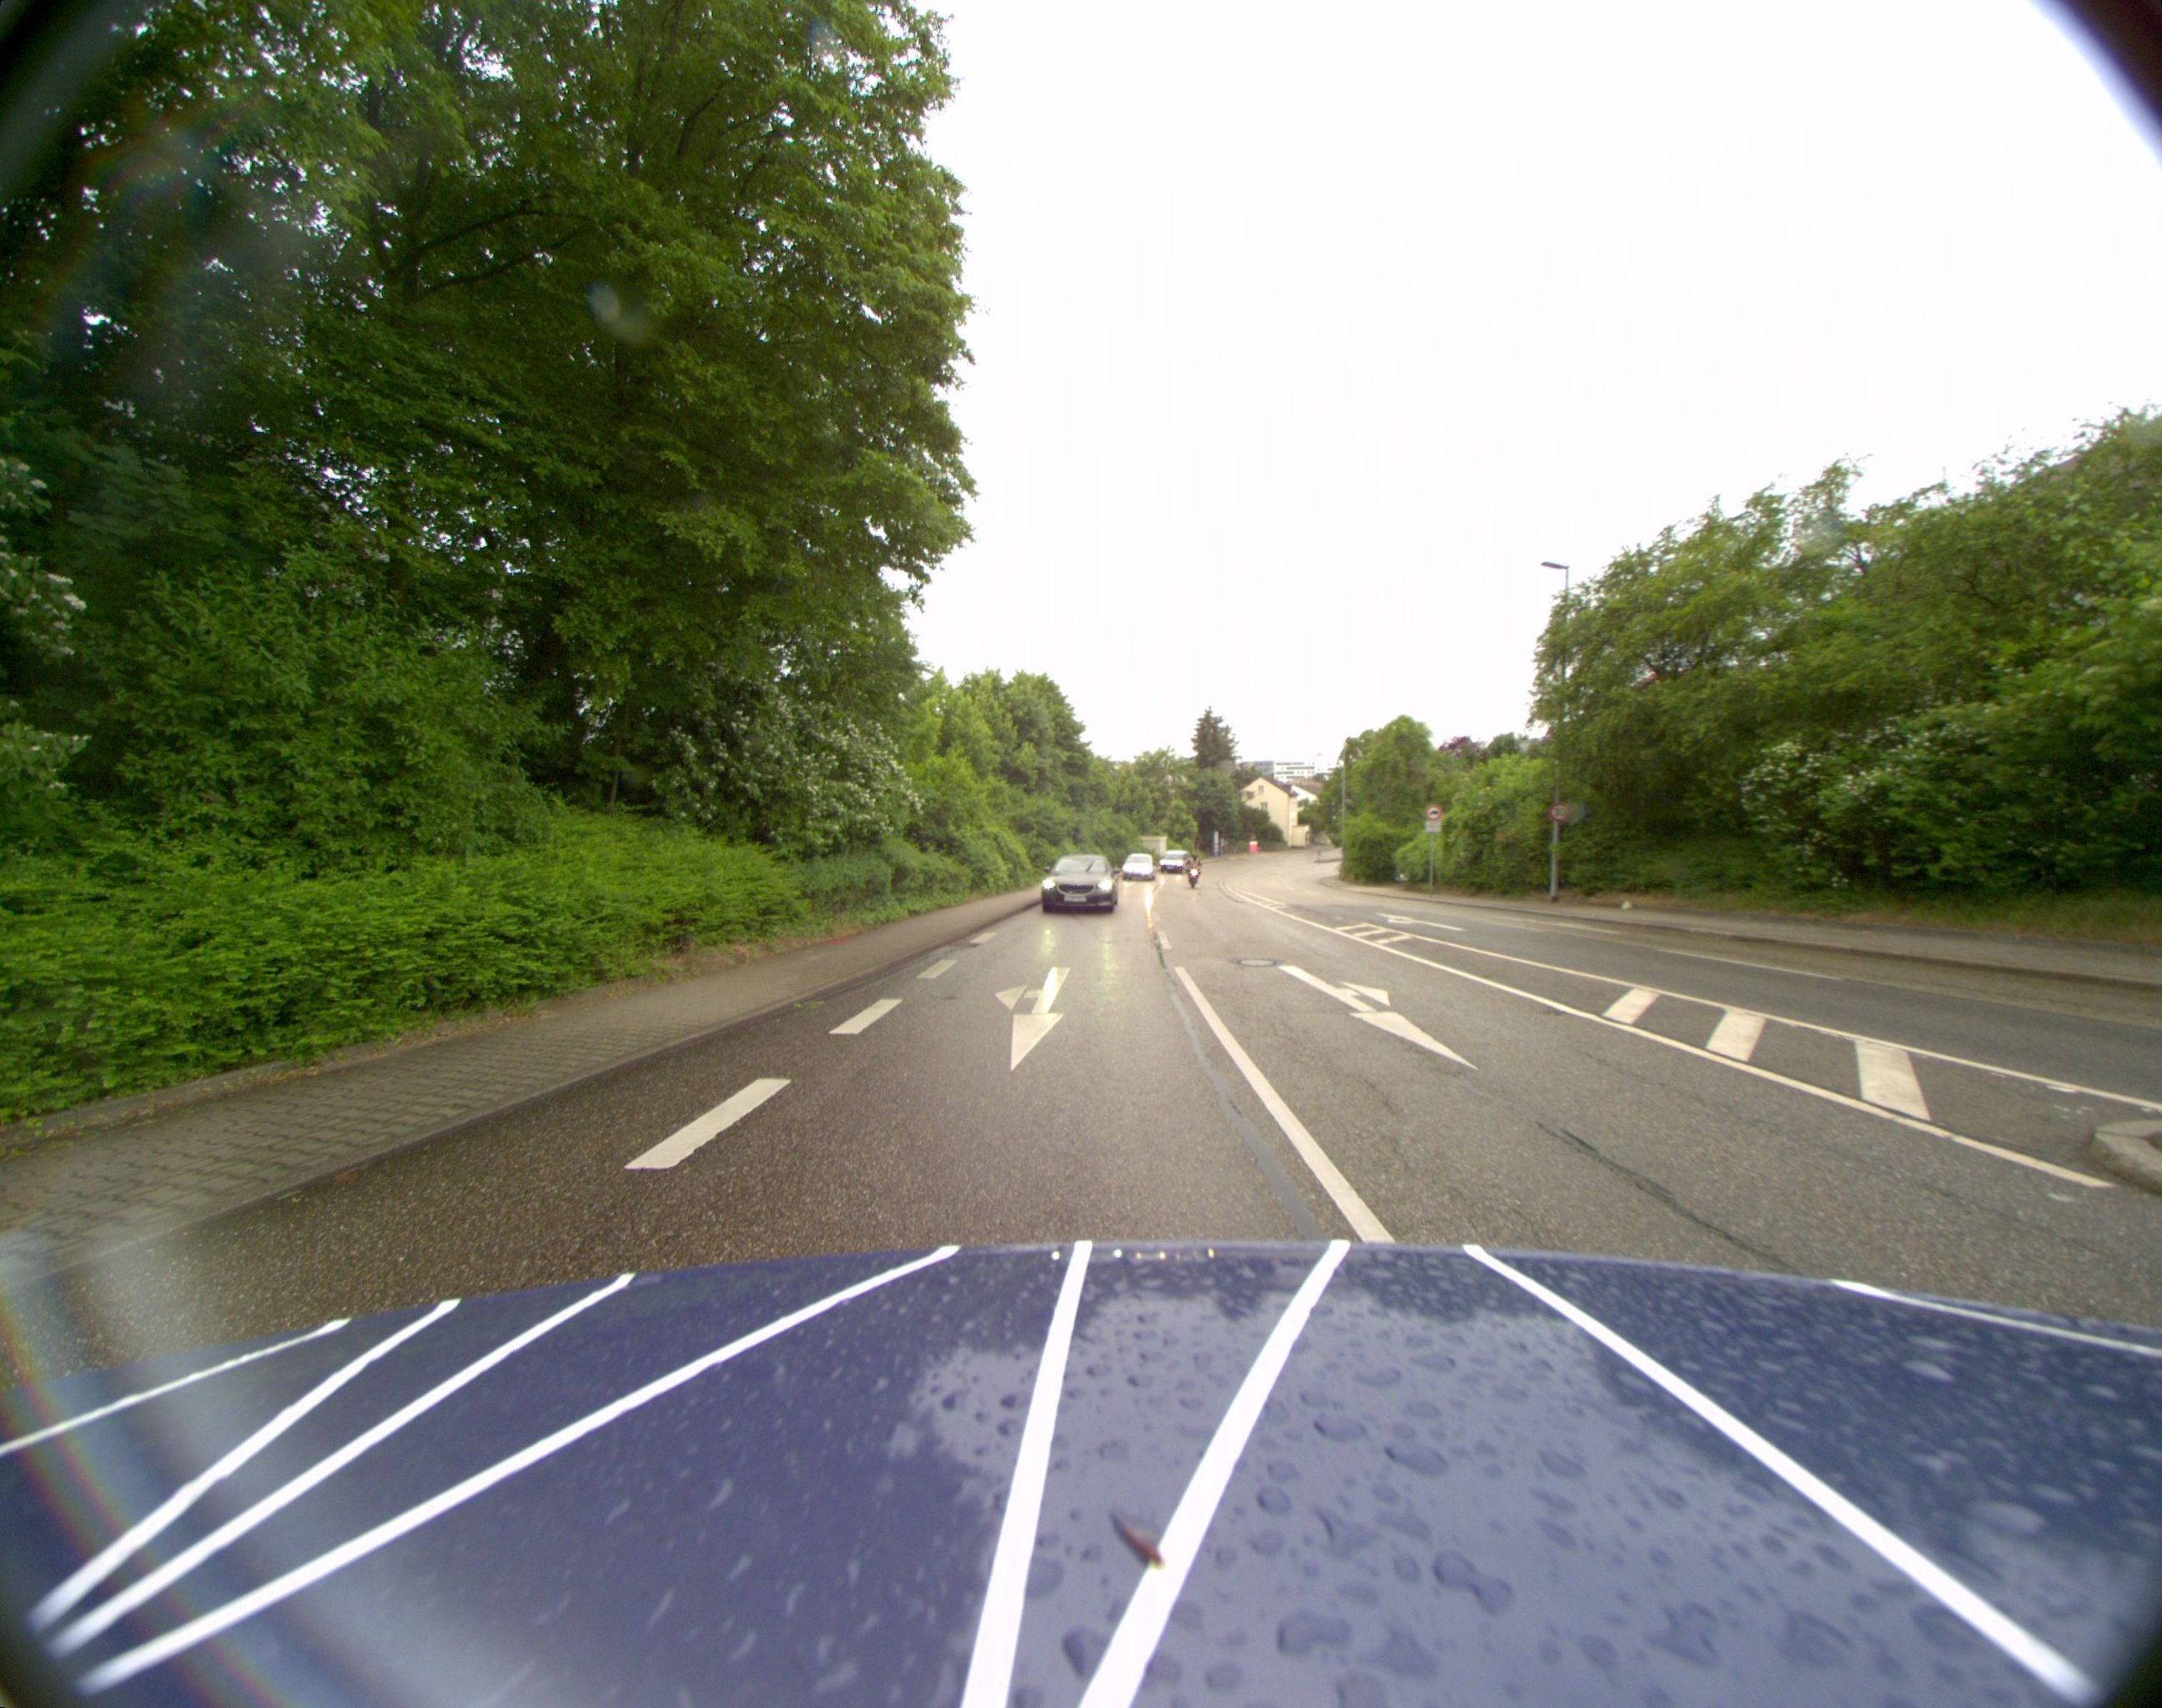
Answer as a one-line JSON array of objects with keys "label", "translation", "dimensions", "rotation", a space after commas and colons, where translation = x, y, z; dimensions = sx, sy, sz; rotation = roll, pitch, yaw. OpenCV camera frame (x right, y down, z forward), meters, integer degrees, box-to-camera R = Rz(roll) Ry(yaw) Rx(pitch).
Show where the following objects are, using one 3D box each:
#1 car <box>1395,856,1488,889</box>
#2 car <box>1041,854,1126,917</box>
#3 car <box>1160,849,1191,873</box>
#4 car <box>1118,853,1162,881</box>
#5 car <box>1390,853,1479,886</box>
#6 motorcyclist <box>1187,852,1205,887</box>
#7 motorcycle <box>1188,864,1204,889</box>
[{"label": "car", "translation": [18.524, 0.932, 39.176], "dimensions": [3.908, 1.432, 1.812], "rotation": [-4, 0, 9]}, {"label": "car", "translation": [0.174, 0.796, 21.098], "dimensions": [1.871, 1.497, 4.199], "rotation": [1, 1, 6]}, {"label": "car", "translation": [7.690, 0.506, 61.537], "dimensions": [1.775, 1.765, 4.005], "rotation": [4, 1, 17]}, {"label": "car", "translation": [3.525, 0.717, 44.770], "dimensions": [1.815, 1.430, 4.005], "rotation": [3, 1, 16]}, {"label": "car", "translation": [19.417, 0.856, 41.887], "dimensions": [3.995, 1.527, 2.001], "rotation": [-4, 0, 8]}, {"label": "motorcyclist", "translation": [5.514, 0.747, 36.484], "dimensions": [0.766, 1.633, 0.674], "rotation": [2, 2, 5]}, {"label": "motorcycle", "translation": [5.499, 1.076, 36.411], "dimensions": [0.692, 1.047, 1.748], "rotation": [3, 2, 7]}]
